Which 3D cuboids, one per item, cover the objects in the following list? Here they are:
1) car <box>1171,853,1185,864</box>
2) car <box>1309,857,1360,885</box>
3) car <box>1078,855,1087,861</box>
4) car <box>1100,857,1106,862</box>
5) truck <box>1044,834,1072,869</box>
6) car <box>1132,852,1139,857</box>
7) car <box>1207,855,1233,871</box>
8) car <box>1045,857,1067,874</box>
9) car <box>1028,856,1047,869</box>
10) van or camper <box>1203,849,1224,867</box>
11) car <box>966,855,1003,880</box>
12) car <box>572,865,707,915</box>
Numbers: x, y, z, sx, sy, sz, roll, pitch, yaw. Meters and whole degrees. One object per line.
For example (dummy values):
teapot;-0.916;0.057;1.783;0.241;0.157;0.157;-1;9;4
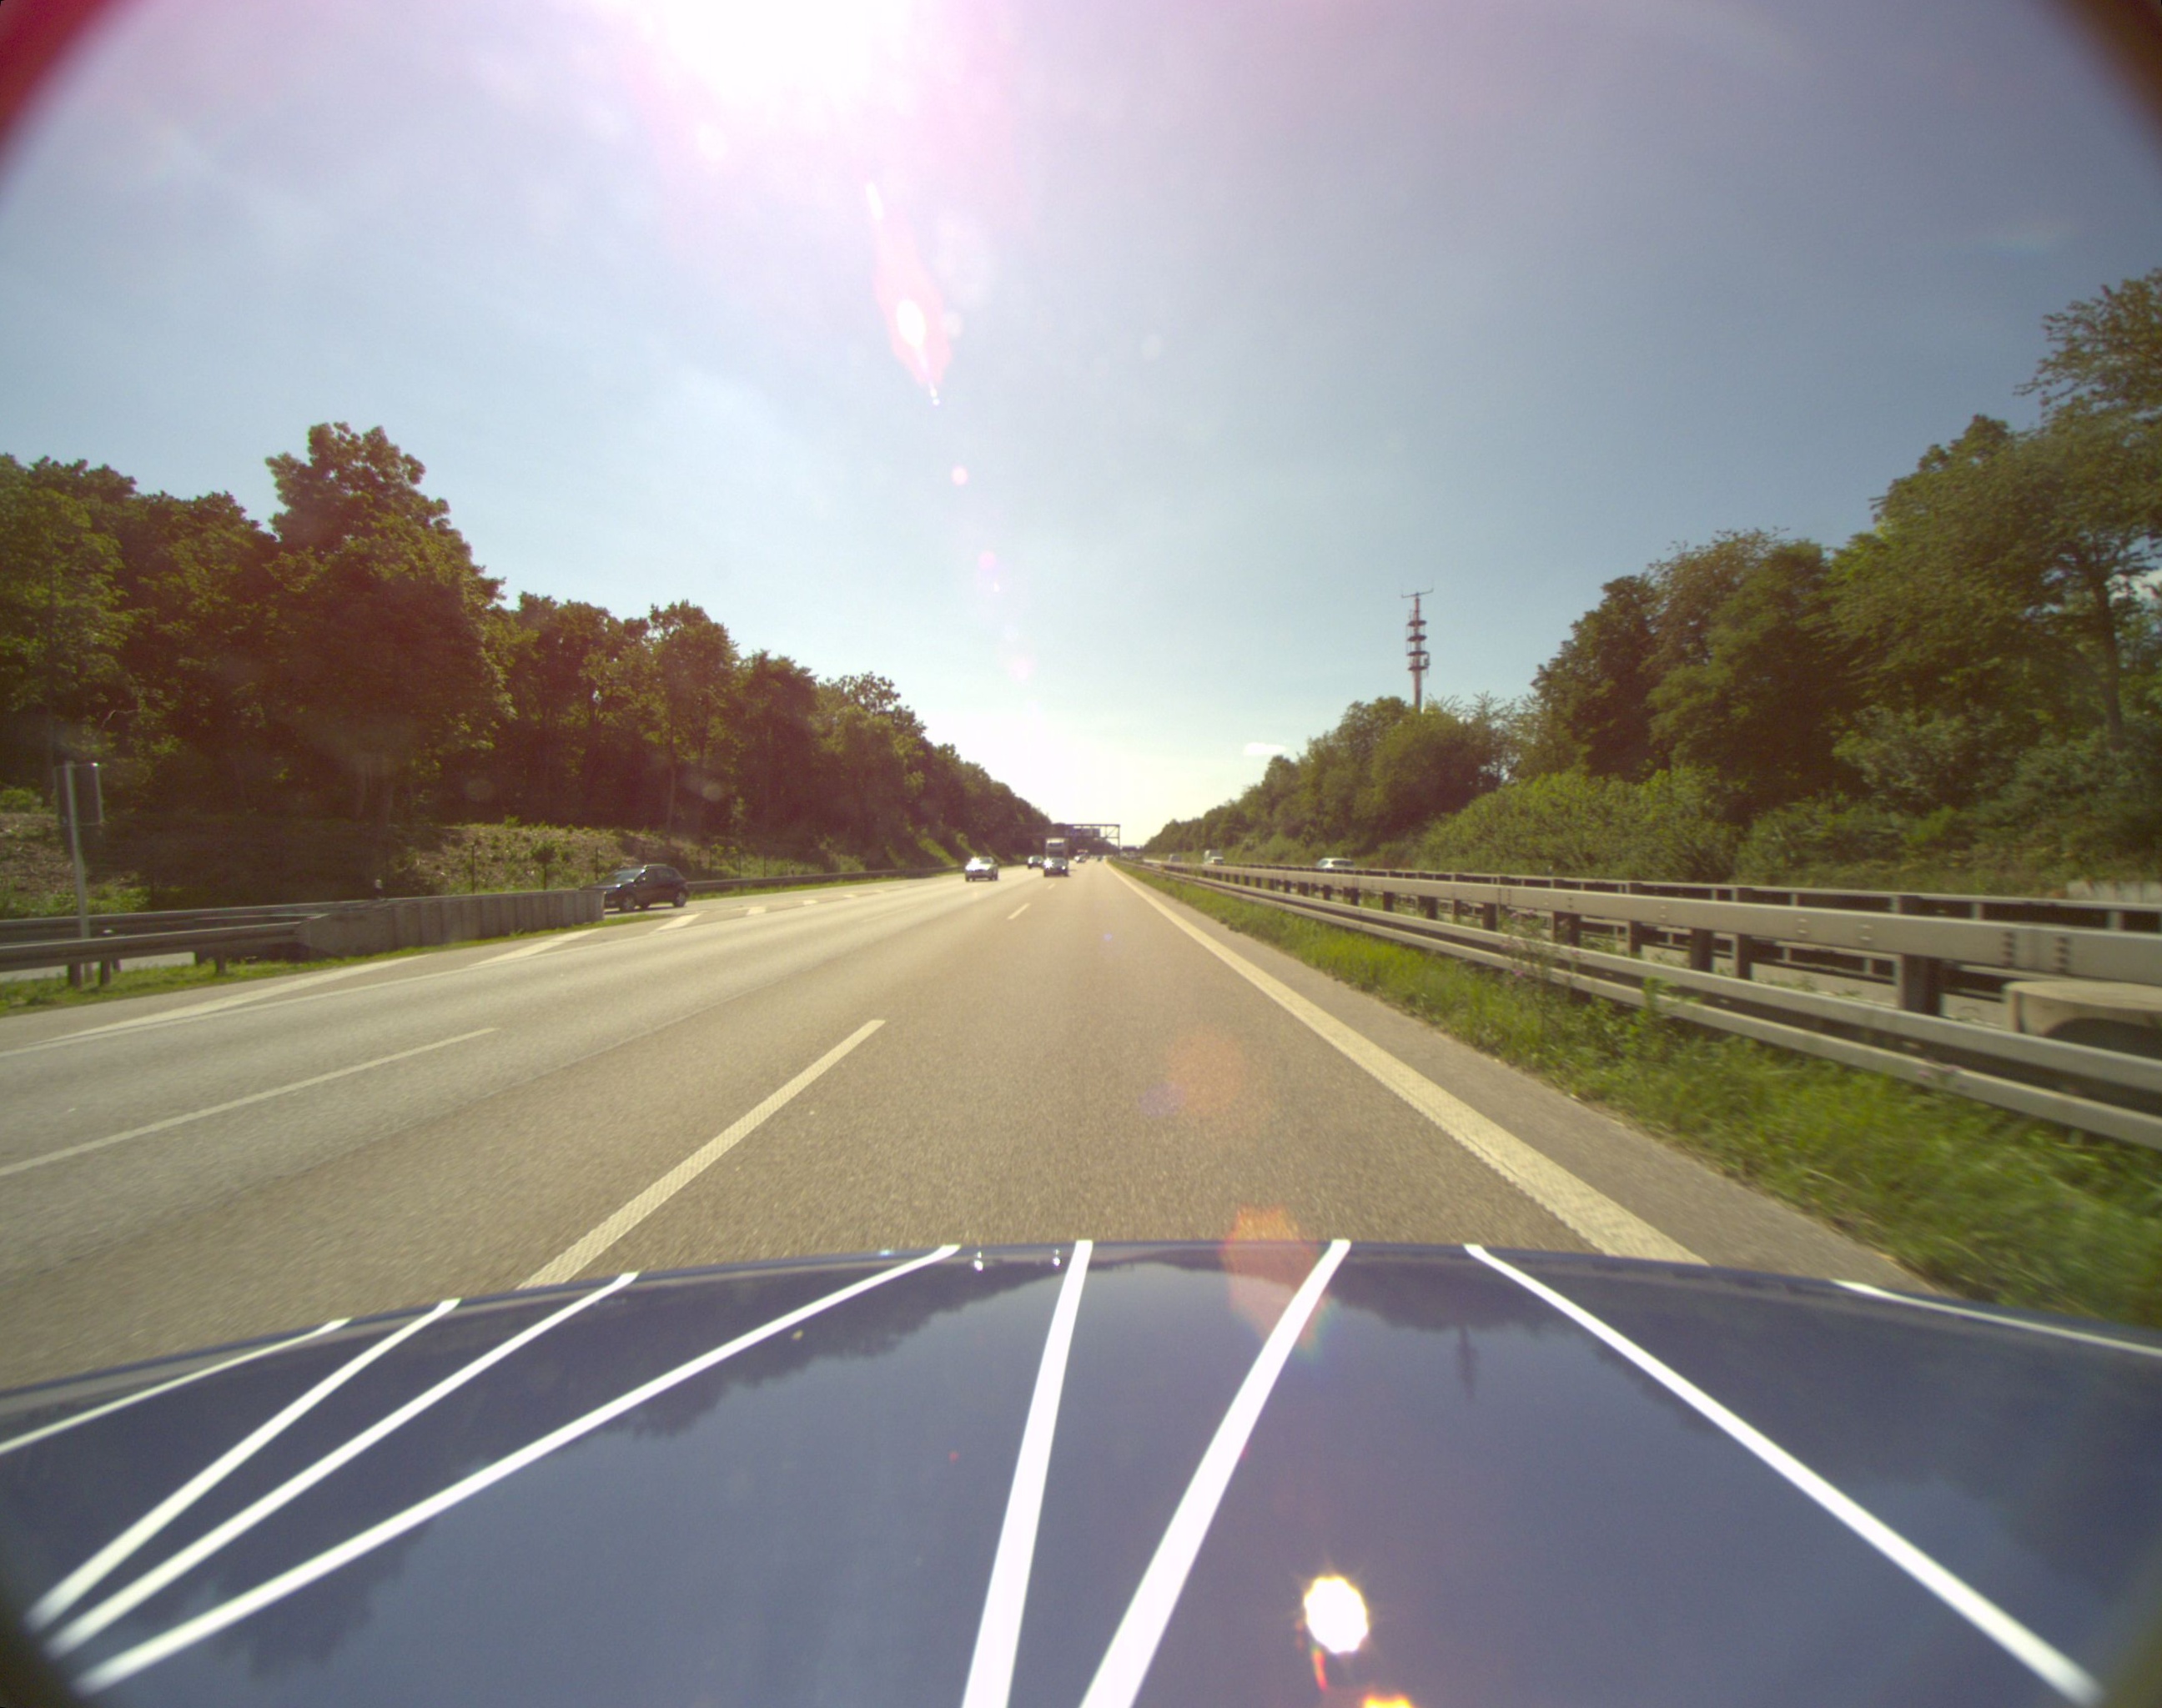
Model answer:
car;16.464;0.769;129.361;1.750;1.819;5.169;1;0;1
car;14.261;0.913;42.876;1.669;1.455;3.883;2;0;2
car;0.403;0.938;167.266;1.831;1.346;3.680;1;0;2
car;5.537;1.443;191.090;1.591;1.291;3.383;1;0;2
truck;-2.516;-0.262;84.021;2.676;3.660;6.484;0;0;1
car;15.861;0.172;221.701;1.816;1.607;3.914;2;0;1
car;15.163;0.940;83.289;1.883;1.601;5.310;1;0;1
car;-1.890;0.888;57.762;1.537;1.265;2.770;0;0;1
car;-5.691;1.067;99.556;1.924;1.659;4.688;-2;0;3
van or camper;19.510;0.523;111.846;2.043;2.544;6.198;1;0;1
car;-6.600;0.898;52.410;1.848;1.559;4.036;-2;0;2
car;-15.729;1.235;27.364;1.768;1.559;4.262;-2;0;11
